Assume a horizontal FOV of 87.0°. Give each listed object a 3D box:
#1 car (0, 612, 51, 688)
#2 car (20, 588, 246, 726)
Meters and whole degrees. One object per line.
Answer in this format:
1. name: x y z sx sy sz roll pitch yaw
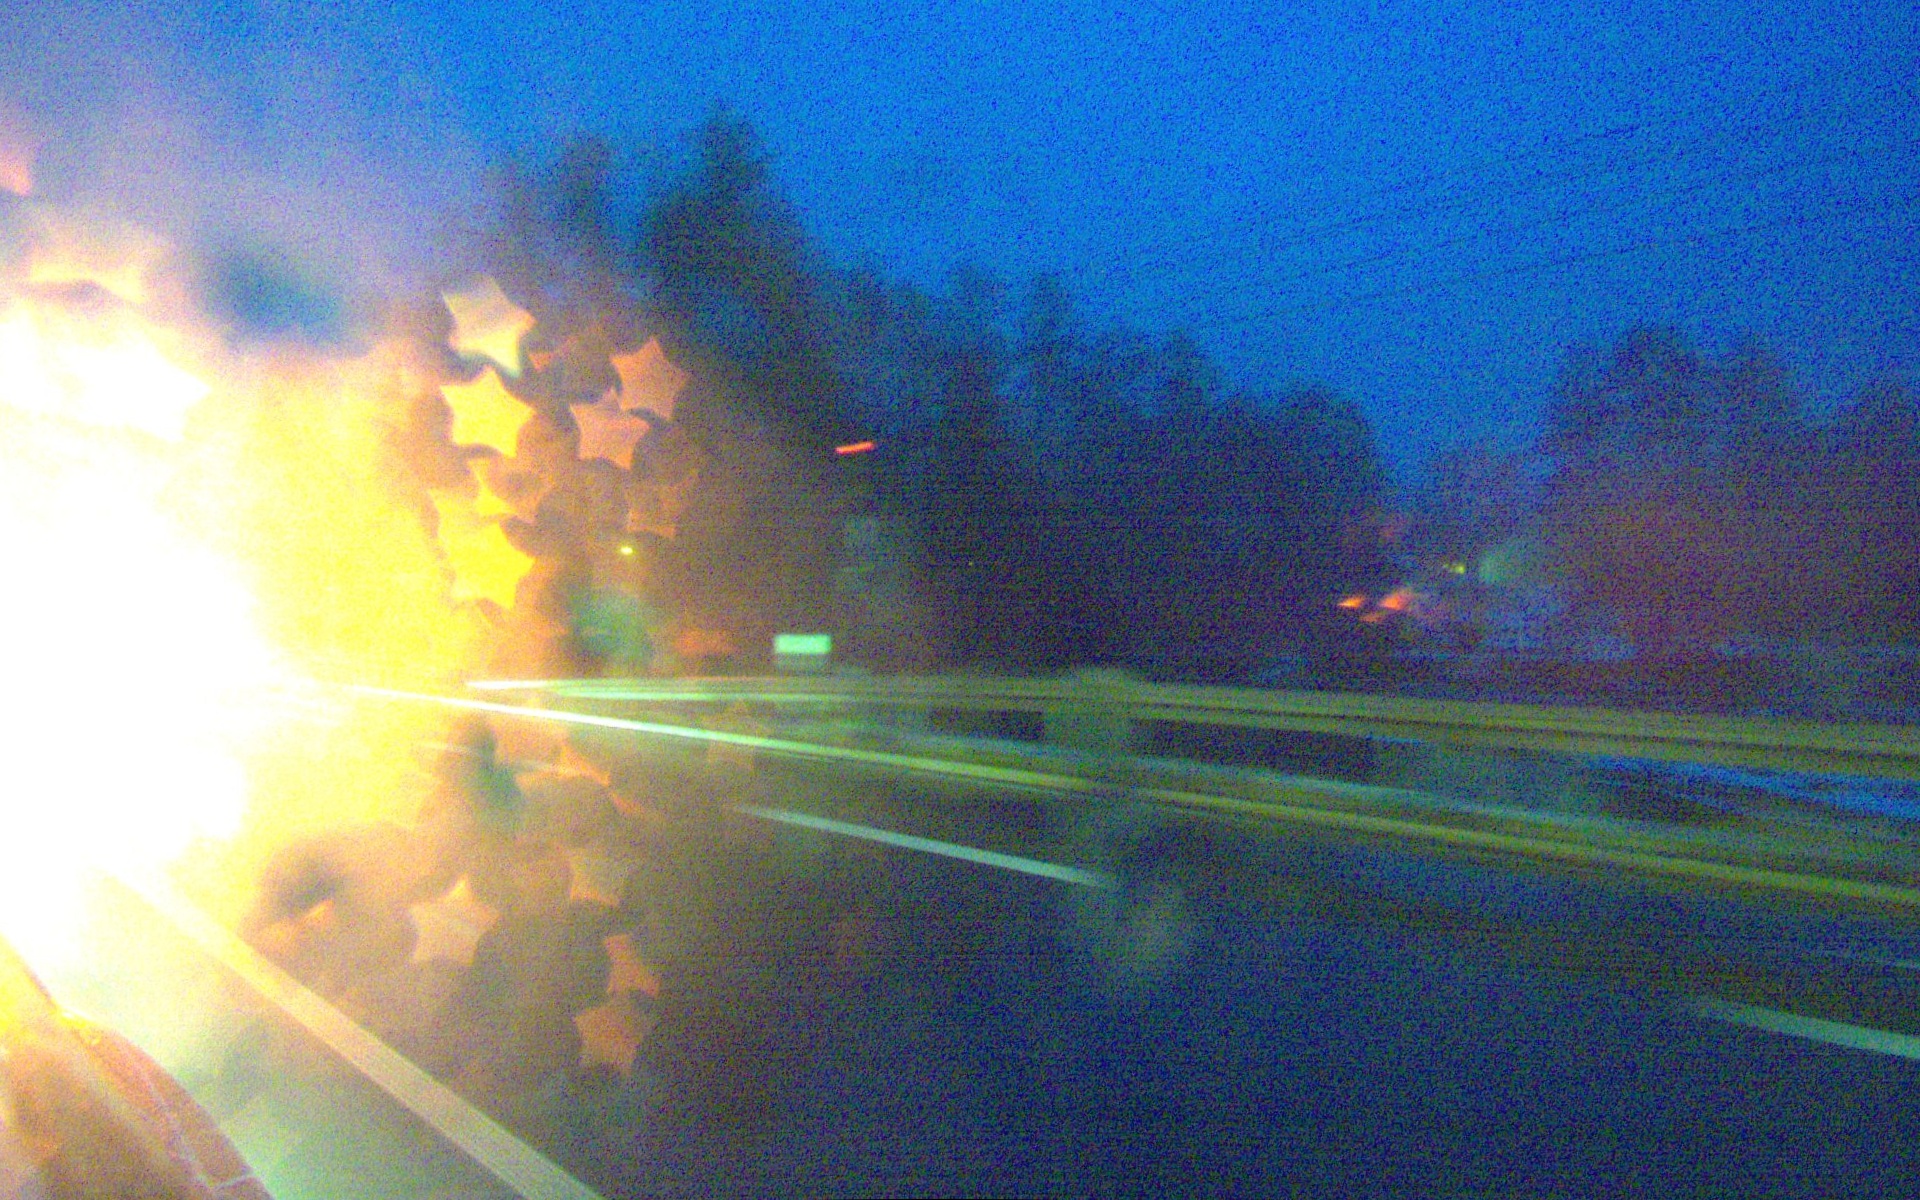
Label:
1. car: -22.935 1.150 23.761 3.998 1.684 1.869 -2 -2 41
2. car: -11.380 0.728 13.830 4.000 1.598 1.868 -2 -3 43
